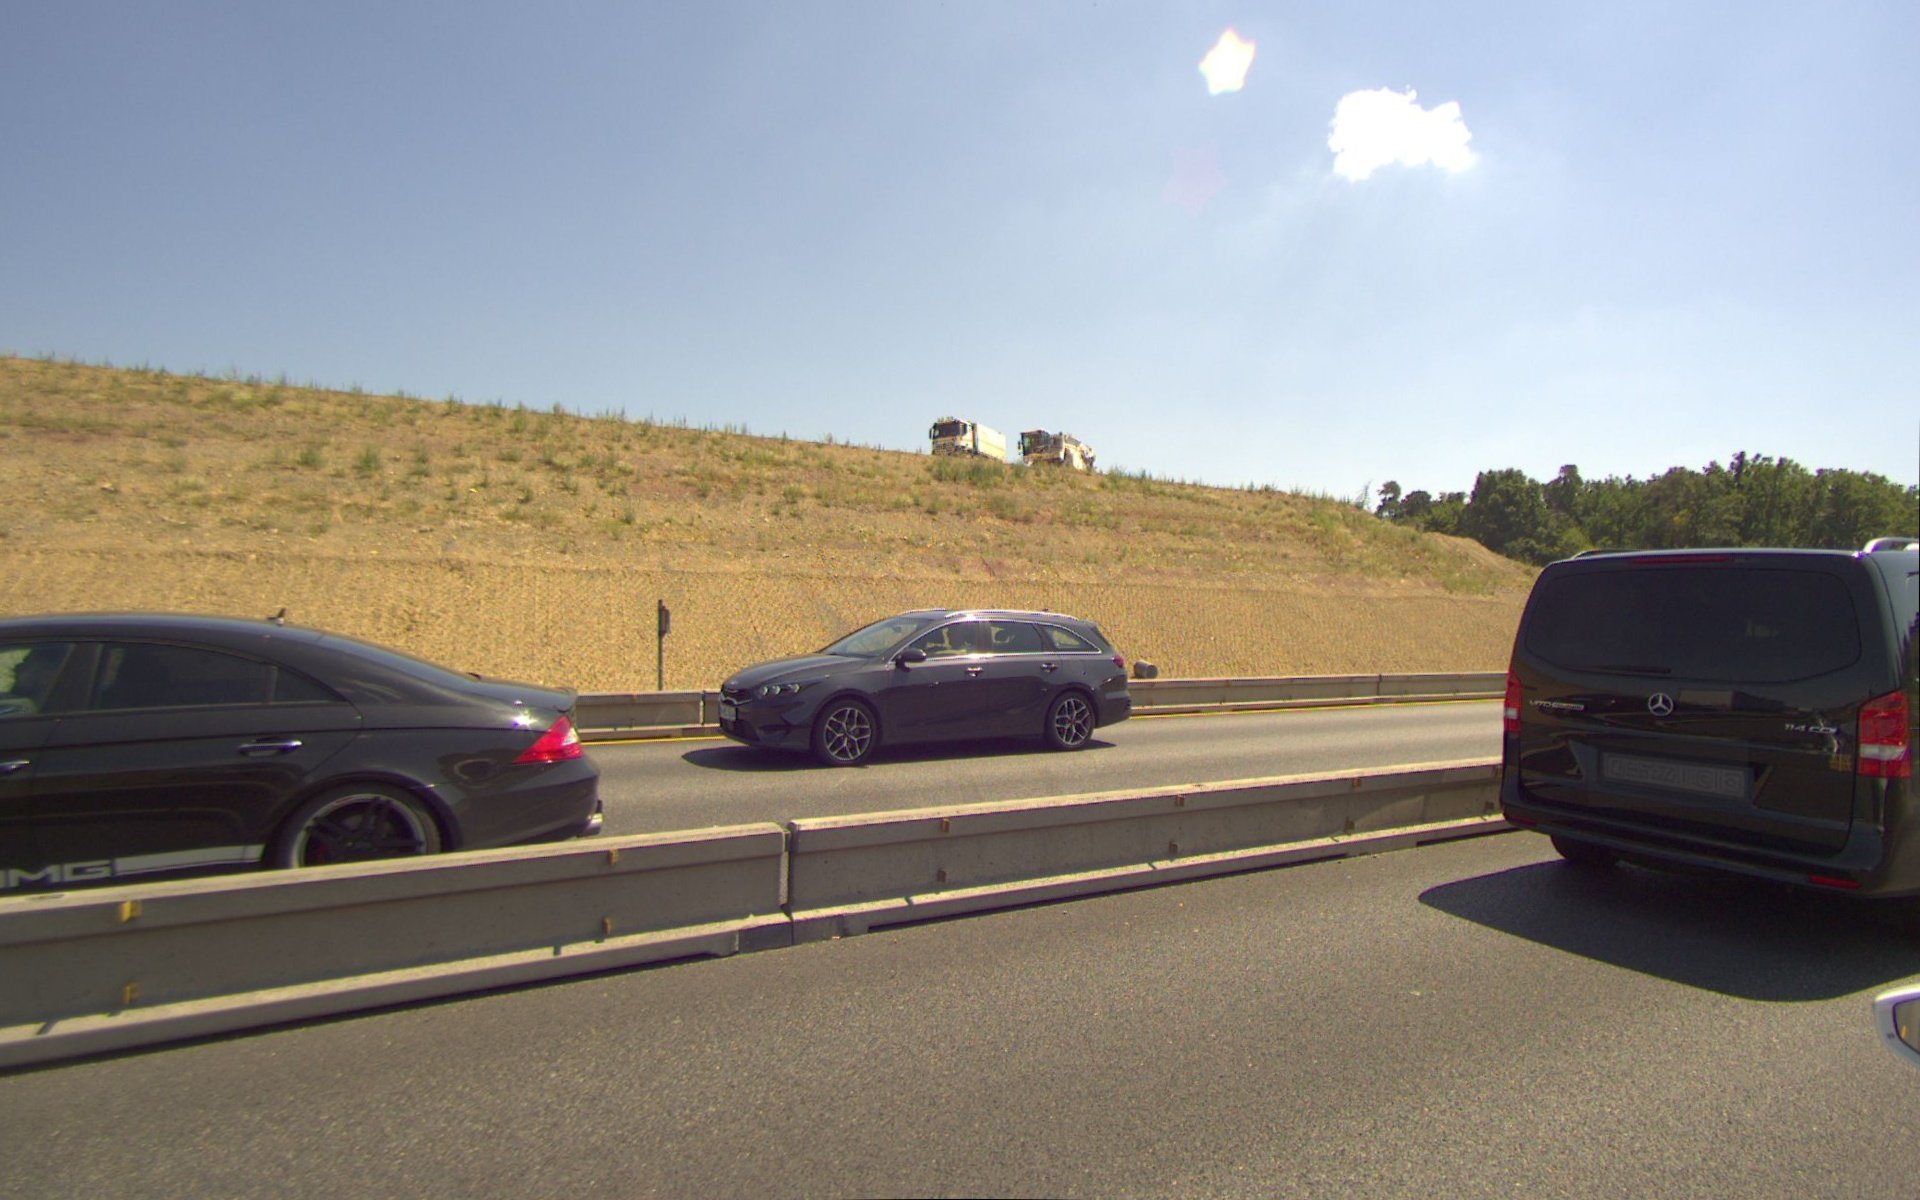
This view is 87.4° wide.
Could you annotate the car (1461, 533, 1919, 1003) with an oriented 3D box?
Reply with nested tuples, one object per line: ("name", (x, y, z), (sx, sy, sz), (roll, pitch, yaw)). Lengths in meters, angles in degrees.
("car", (5.620, 0.731, 6.196), (5.415, 1.876, 1.865), (2, 0, -30))

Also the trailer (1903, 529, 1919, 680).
("trailer", (32.483, 0.271, 29.901), (13.552, 4.130, 2.777), (1, 0, -31))

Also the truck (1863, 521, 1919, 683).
("truck", (26.524, 0.142, 26.350), (4.885, 4.097, 2.756), (2, 0, -30))

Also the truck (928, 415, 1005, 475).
("truck", (0.622, -11.088, 72.668), (2.317, 2.937, 8.362), (2, 0, 24))

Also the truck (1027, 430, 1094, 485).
("truck", (7.720, -10.611, 75.711), (2.259, 2.785, 8.901), (2, -1, 24))

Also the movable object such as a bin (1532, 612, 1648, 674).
("movable object such as a bin", (33.918, 2.304, 54.016), (7.078, 3.150, 2.159), (1, -2, -30))

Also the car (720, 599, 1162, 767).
("car", (-0.103, 0.813, 10.635), (4.451, 1.443, 1.622), (3, 0, -31))

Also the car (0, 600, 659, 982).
("car", (-4.026, 0.733, 4.552), (4.805, 1.405, 1.720), (3, 0, -31))
